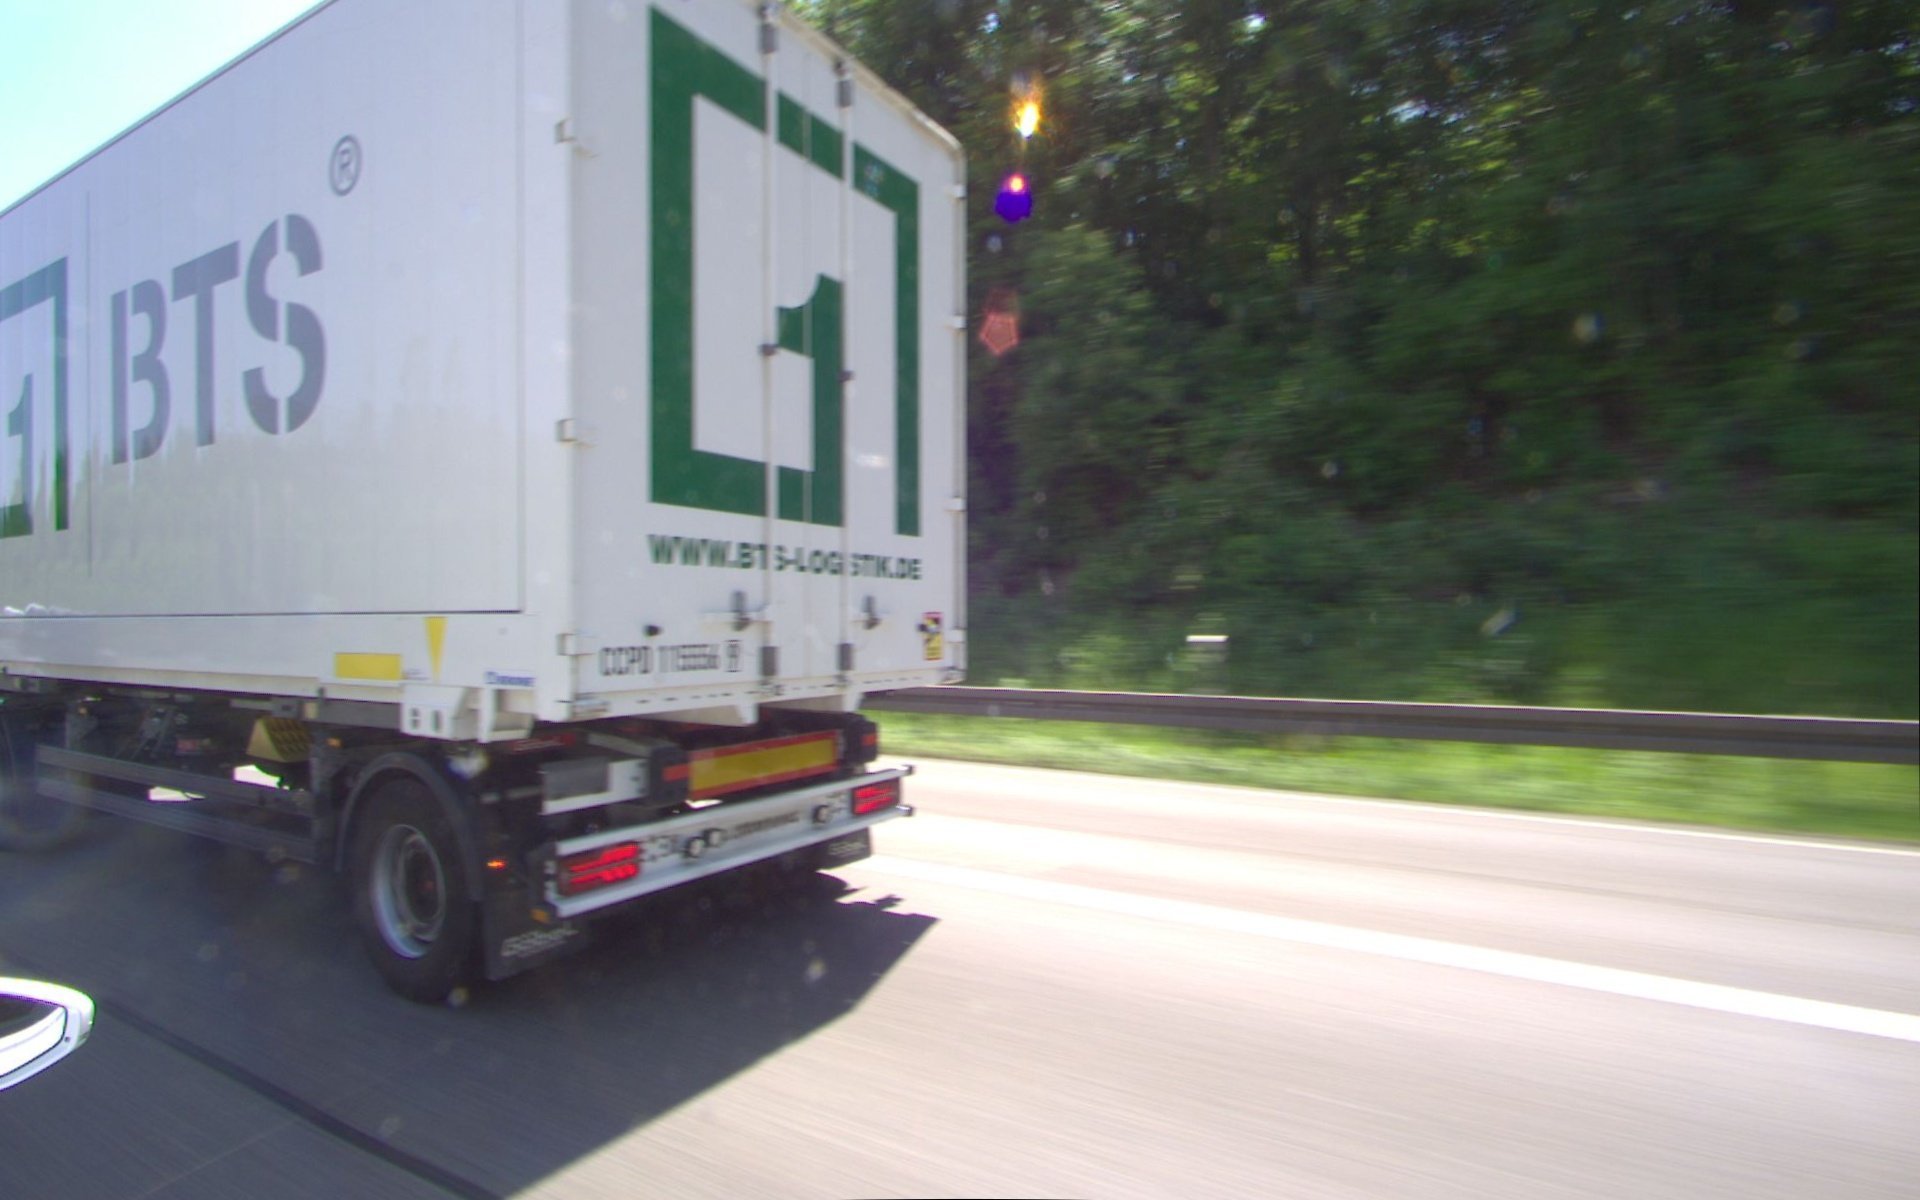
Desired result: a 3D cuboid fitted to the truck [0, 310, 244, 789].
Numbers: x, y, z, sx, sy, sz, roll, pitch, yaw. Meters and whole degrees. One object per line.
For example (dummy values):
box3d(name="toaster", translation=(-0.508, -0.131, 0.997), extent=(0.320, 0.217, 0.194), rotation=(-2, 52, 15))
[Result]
box3d(name="truck", translation=(-12.392, -0.343, 11.810), extent=(10.473, 4.112, 2.675), rotation=(-1, -1, 32))

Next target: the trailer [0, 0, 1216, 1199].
box3d(name="trailer", translation=(-3.665, -0.461, 6.331), extent=(9.921, 4.230, 2.675), rotation=(-1, -1, 32))
